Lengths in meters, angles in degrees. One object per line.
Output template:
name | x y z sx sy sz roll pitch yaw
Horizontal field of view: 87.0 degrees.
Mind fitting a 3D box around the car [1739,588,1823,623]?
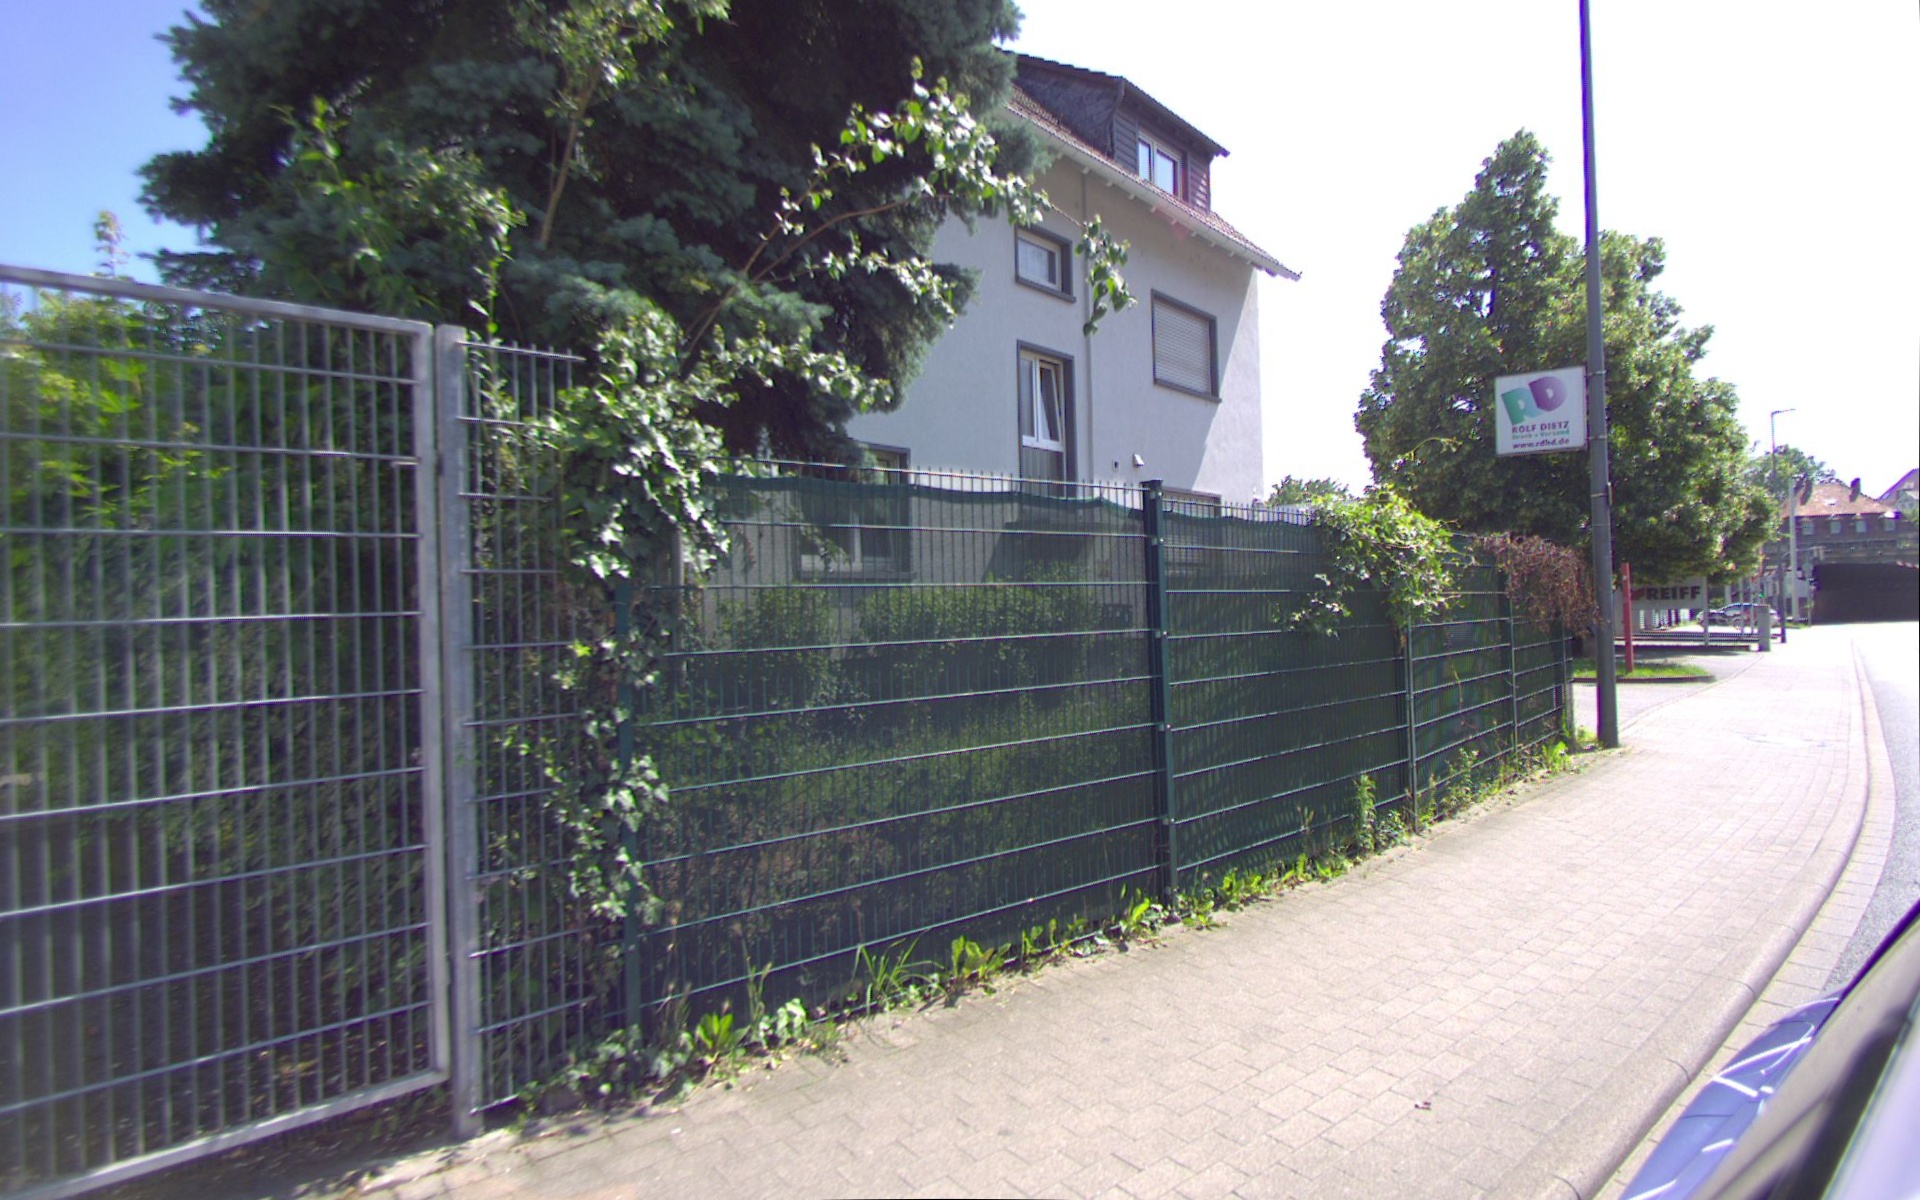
car | 51.087 0.367 63.081 3.980 2.128 1.972 -1 -1 39
